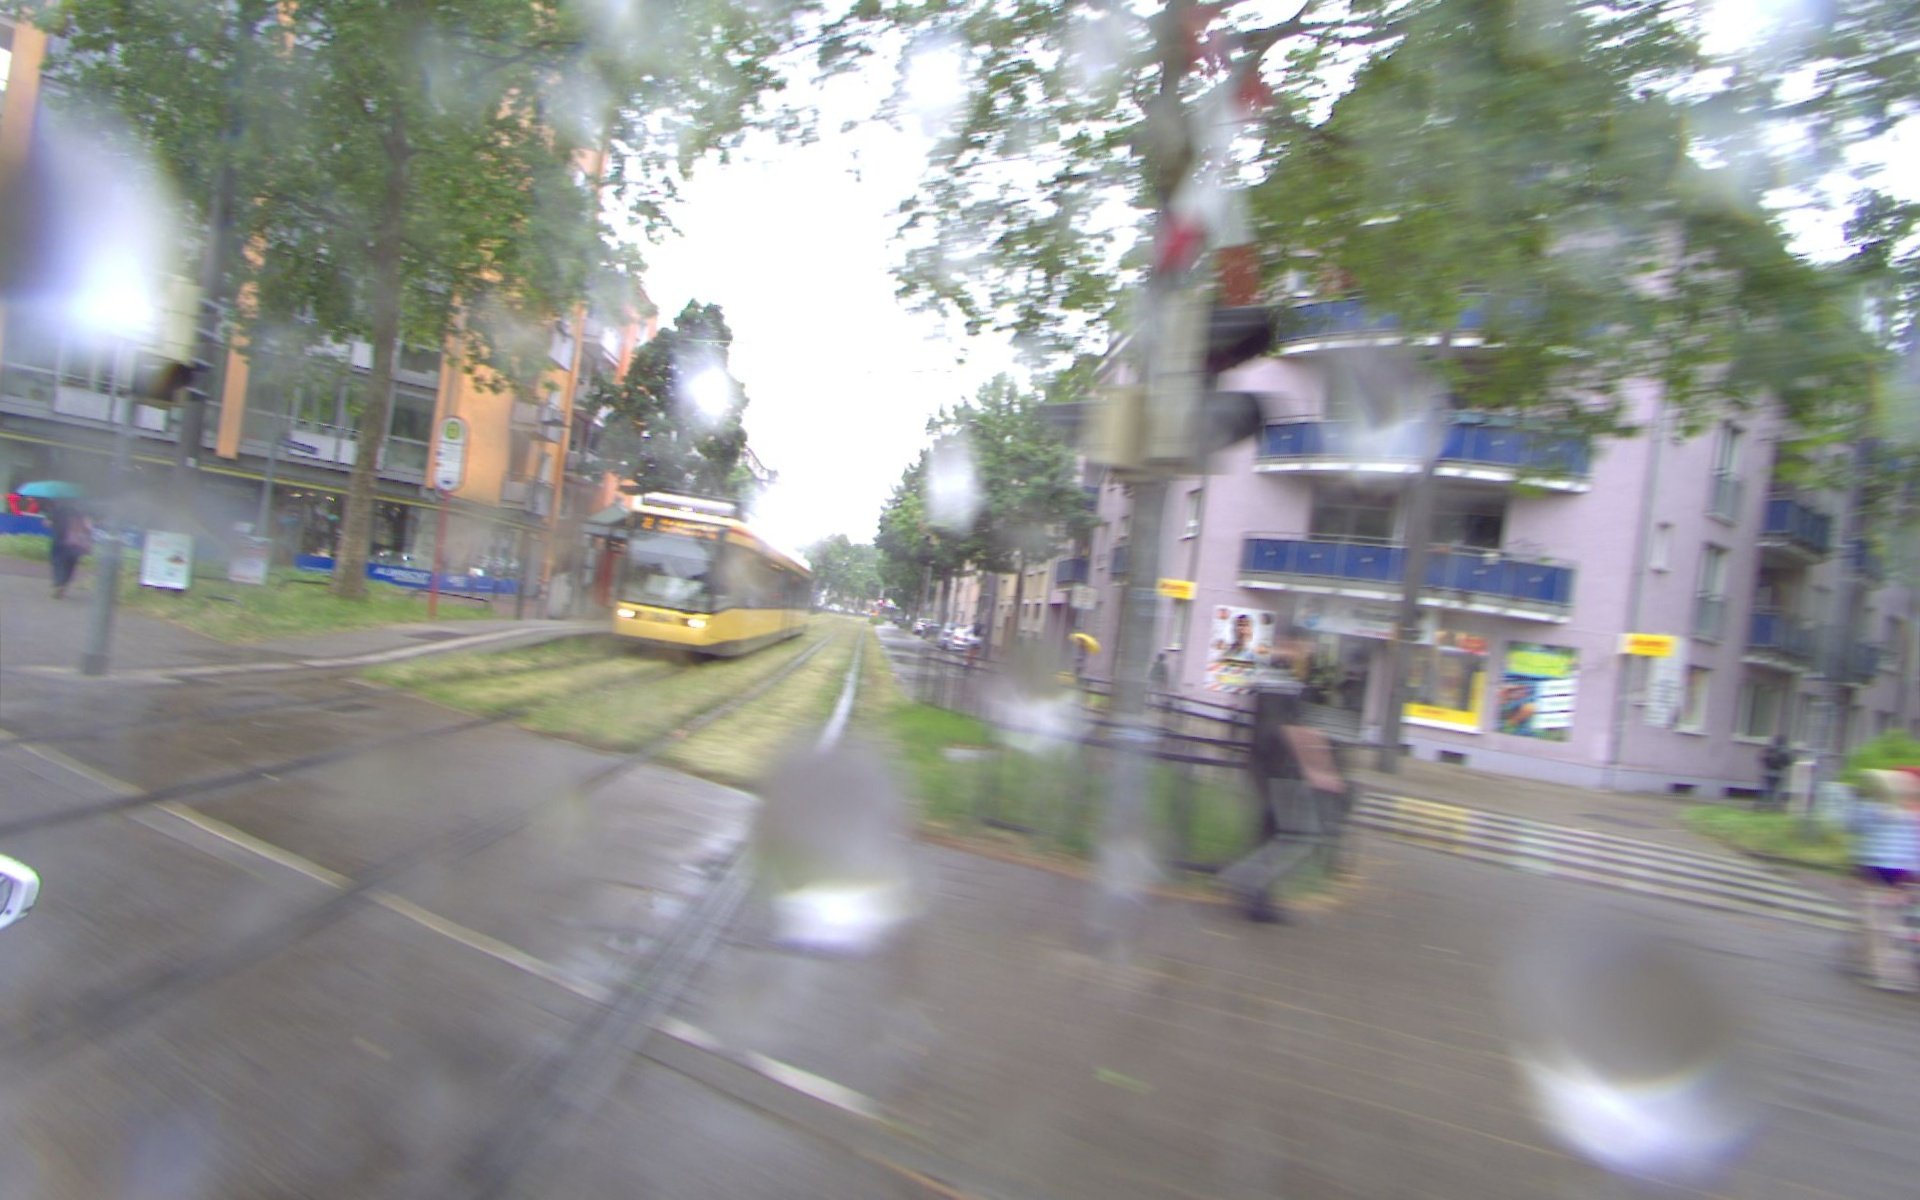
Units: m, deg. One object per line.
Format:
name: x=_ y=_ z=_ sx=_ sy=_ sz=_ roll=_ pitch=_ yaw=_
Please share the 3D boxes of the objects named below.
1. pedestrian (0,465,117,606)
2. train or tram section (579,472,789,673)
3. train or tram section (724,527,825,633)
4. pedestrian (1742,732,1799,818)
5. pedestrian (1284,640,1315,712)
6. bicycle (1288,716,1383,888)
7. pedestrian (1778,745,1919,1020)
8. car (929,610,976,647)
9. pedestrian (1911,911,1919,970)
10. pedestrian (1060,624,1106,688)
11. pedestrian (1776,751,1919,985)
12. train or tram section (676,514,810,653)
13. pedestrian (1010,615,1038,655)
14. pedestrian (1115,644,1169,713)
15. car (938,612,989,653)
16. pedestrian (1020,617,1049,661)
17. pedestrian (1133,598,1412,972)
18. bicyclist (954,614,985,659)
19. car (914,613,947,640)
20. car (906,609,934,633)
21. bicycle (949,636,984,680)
pedestrian: x=-13.677 y=-0.973 z=15.155 sx=1.366 sy=1.887 sz=1.169 roll=8 pitch=0 yaw=43
train or tram section: x=-5.890 y=-0.462 z=23.102 sx=2.599 sy=3.408 sz=8.373 roll=9 pitch=-1 yaw=-4
train or tram section: x=-7.229 y=-0.661 z=40.569 sx=2.600 sy=3.390 sz=9.981 roll=9 pitch=-1 yaw=-5
pedestrian: x=18.488 y=3.980 z=22.948 sx=0.615 sy=1.826 sz=0.638 roll=7 pitch=1 yaw=-29
pedestrian: x=8.046 y=1.805 z=23.845 sx=0.464 sy=1.621 sz=0.594 roll=8 pitch=0 yaw=20
bicycle: x=2.958 y=1.543 z=8.041 sx=0.438 sy=1.089 sz=1.620 roll=8 pitch=-1 yaw=16
pedestrian: x=6.120 y=1.812 z=6.522 sx=0.863 sy=1.543 sz=1.064 roll=8 pitch=0 yaw=25
car: x=-0.461 y=1.560 z=55.924 sx=1.965 sy=1.693 sz=3.996 roll=8 pitch=-1 yaw=-6
pedestrian: x=7.131 y=1.862 z=6.691 sx=0.679 sy=1.567 sz=0.762 roll=8 pitch=1 yaw=7
pedestrian: x=3.595 y=1.625 z=29.500 sx=0.939 sy=1.718 sz=0.920 roll=8 pitch=1 yaw=-7
pedestrian: x=6.549 y=1.878 z=7.187 sx=0.661 sy=1.399 sz=1.010 roll=8 pitch=1 yaw=20
train or tram section: x=-6.504 y=-0.394 z=31.437 sx=2.600 sy=3.390 sz=8.371 roll=9 pitch=-1 yaw=-5
pedestrian: x=2.991 y=1.636 z=47.057 sx=0.905 sy=1.718 sz=0.954 roll=8 pitch=0 yaw=-6
pedestrian: x=4.625 y=1.985 z=25.621 sx=0.977 sy=1.578 sz=0.783 roll=8 pitch=0 yaw=-5
car: x=0.133 y=1.628 z=51.032 sx=1.965 sy=1.693 sz=3.996 roll=8 pitch=-1 yaw=-6
pedestrian: x=3.136 y=1.630 z=42.437 sx=0.904 sy=1.718 sz=0.955 roll=8 pitch=0 yaw=-1
pedestrian: x=1.819 y=1.004 z=5.955 sx=1.213 sy=1.810 sz=1.039 roll=8 pitch=0 yaw=17
bicyclist: x=0.301 y=1.172 z=32.658 sx=0.729 sy=1.325 sz=1.076 roll=8 pitch=1 yaw=-5
car: x=-2.230 y=1.945 z=74.646 sx=1.965 sy=1.693 sz=3.996 roll=8 pitch=-1 yaw=-6
car: x=-3.445 y=1.813 z=86.341 sx=1.965 sy=1.693 sz=3.996 roll=8 pitch=-1 yaw=-6
bicycle: x=0.204 y=1.874 z=32.704 sx=0.740 sy=1.187 sz=2.038 roll=8 pitch=0 yaw=-7
